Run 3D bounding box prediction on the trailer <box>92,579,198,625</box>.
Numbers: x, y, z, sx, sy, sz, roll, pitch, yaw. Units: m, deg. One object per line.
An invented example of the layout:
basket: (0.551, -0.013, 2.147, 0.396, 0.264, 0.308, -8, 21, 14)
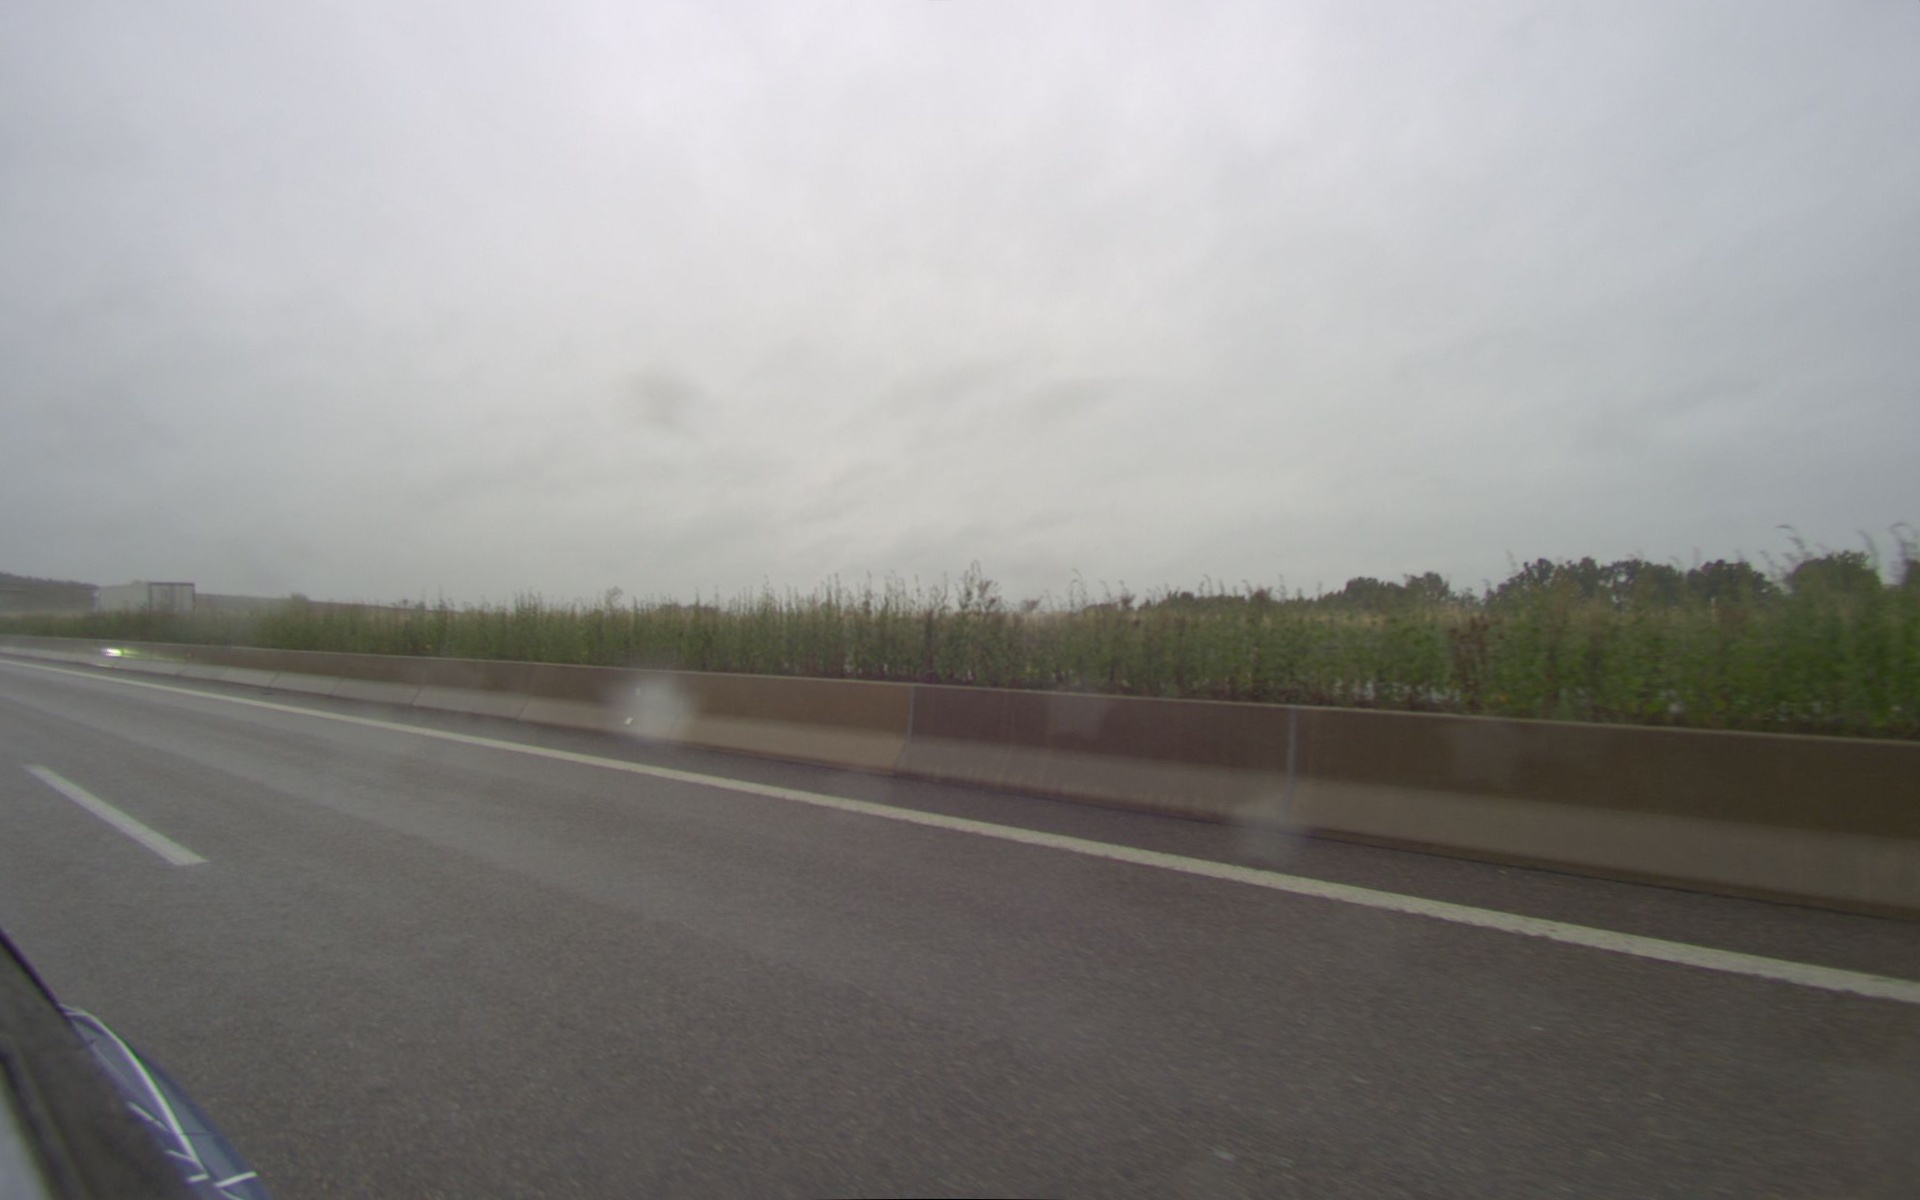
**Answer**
trailer: (-61.036, 0.053, 75.533, 15.703, 3.168, 2.958, 0, 0, 39)
